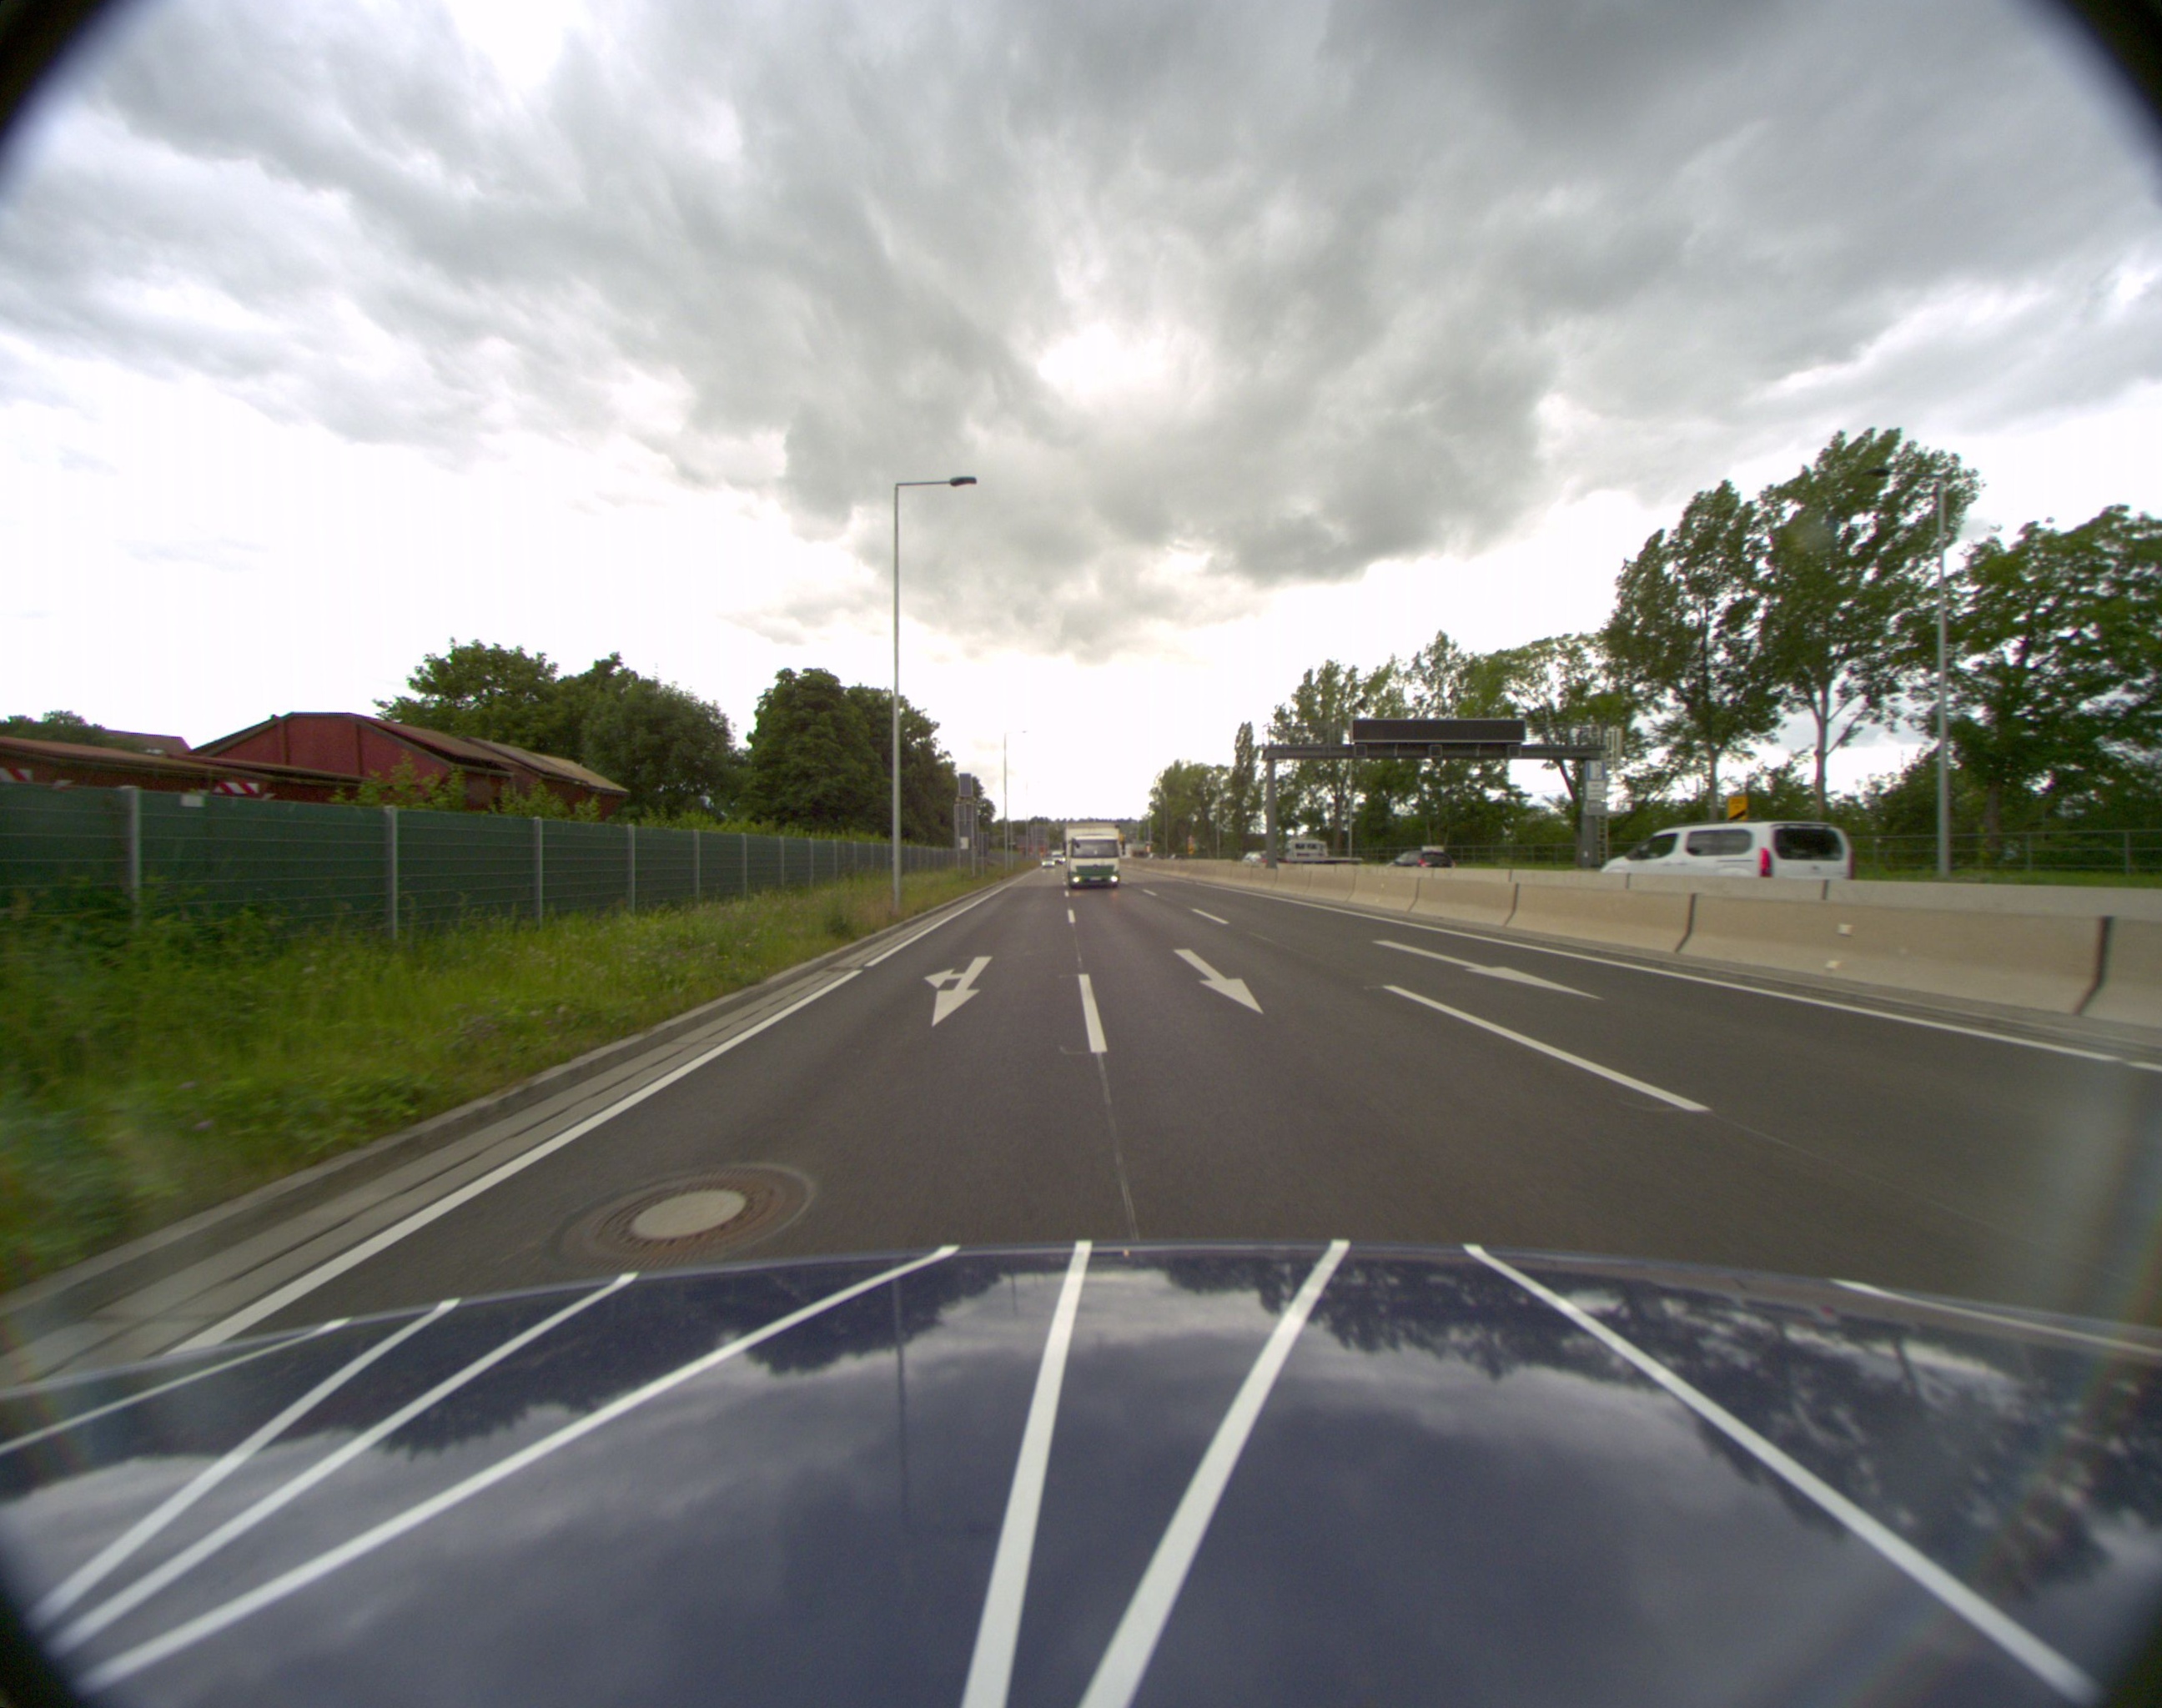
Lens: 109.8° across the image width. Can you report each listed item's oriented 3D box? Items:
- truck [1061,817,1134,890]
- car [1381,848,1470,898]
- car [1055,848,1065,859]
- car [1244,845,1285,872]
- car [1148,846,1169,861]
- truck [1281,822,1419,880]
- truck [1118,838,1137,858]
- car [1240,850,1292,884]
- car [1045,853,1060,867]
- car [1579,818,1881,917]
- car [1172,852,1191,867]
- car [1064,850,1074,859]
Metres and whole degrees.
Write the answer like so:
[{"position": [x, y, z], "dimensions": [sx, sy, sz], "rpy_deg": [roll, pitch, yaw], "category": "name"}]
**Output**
[{"position": [0.621, -0.015, 37.418], "dimensions": [2.943, 3.064, 8.385], "rpy_deg": [-3, 0, -2], "category": "truck"}, {"position": [15.108, 0.799, 33.577], "dimensions": [1.999, 2.002, 3.999], "rpy_deg": [-3, 0, -1], "category": "car"}, {"position": [-4.105, -0.164, 148.588], "dimensions": [1.999, 2.002, 3.999], "rpy_deg": [-3, 0, -2], "category": "car"}, {"position": [13.537, 0.341, 56.257], "dimensions": [1.821, 1.866, 4.099], "rpy_deg": [-3, 0, -2], "category": "car"}, {"position": [9.161, -0.024, 89.815], "dimensions": [1.931, 1.608, 4.454], "rpy_deg": [-3, 0, -1], "category": "car"}, {"position": [17.084, -0.177, 50.315], "dimensions": [2.862, 3.089, 15.882], "rpy_deg": [-3, 0, -2], "category": "truck"}, {"position": [7.747, -1.014, 126.942], "dimensions": [2.410, 3.089, 7.200], "rpy_deg": [-3, 0, -2], "category": "truck"}, {"position": [10.955, 0.743, 45.298], "dimensions": [1.821, 1.892, 3.999], "rpy_deg": [-3, 0, -3], "category": "car"}, {"position": [-4.105, 0.789, 108.484], "dimensions": [1.999, 1.849, 3.999], "rpy_deg": [-3, 0, -2], "category": "car"}, {"position": [12.691, 0.236, 15.395], "dimensions": [1.999, 1.608, 4.696], "rpy_deg": [-3, 0, -1], "category": "car"}, {"position": [14.282, 0.707, 108.372], "dimensions": [1.999, 2.002, 4.000], "rpy_deg": [-3, 0, 0], "category": "car"}, {"position": [-2.796, 0.054, 175.451], "dimensions": [1.999, 2.002, 3.999], "rpy_deg": [-3, 0, -1], "category": "car"}]
